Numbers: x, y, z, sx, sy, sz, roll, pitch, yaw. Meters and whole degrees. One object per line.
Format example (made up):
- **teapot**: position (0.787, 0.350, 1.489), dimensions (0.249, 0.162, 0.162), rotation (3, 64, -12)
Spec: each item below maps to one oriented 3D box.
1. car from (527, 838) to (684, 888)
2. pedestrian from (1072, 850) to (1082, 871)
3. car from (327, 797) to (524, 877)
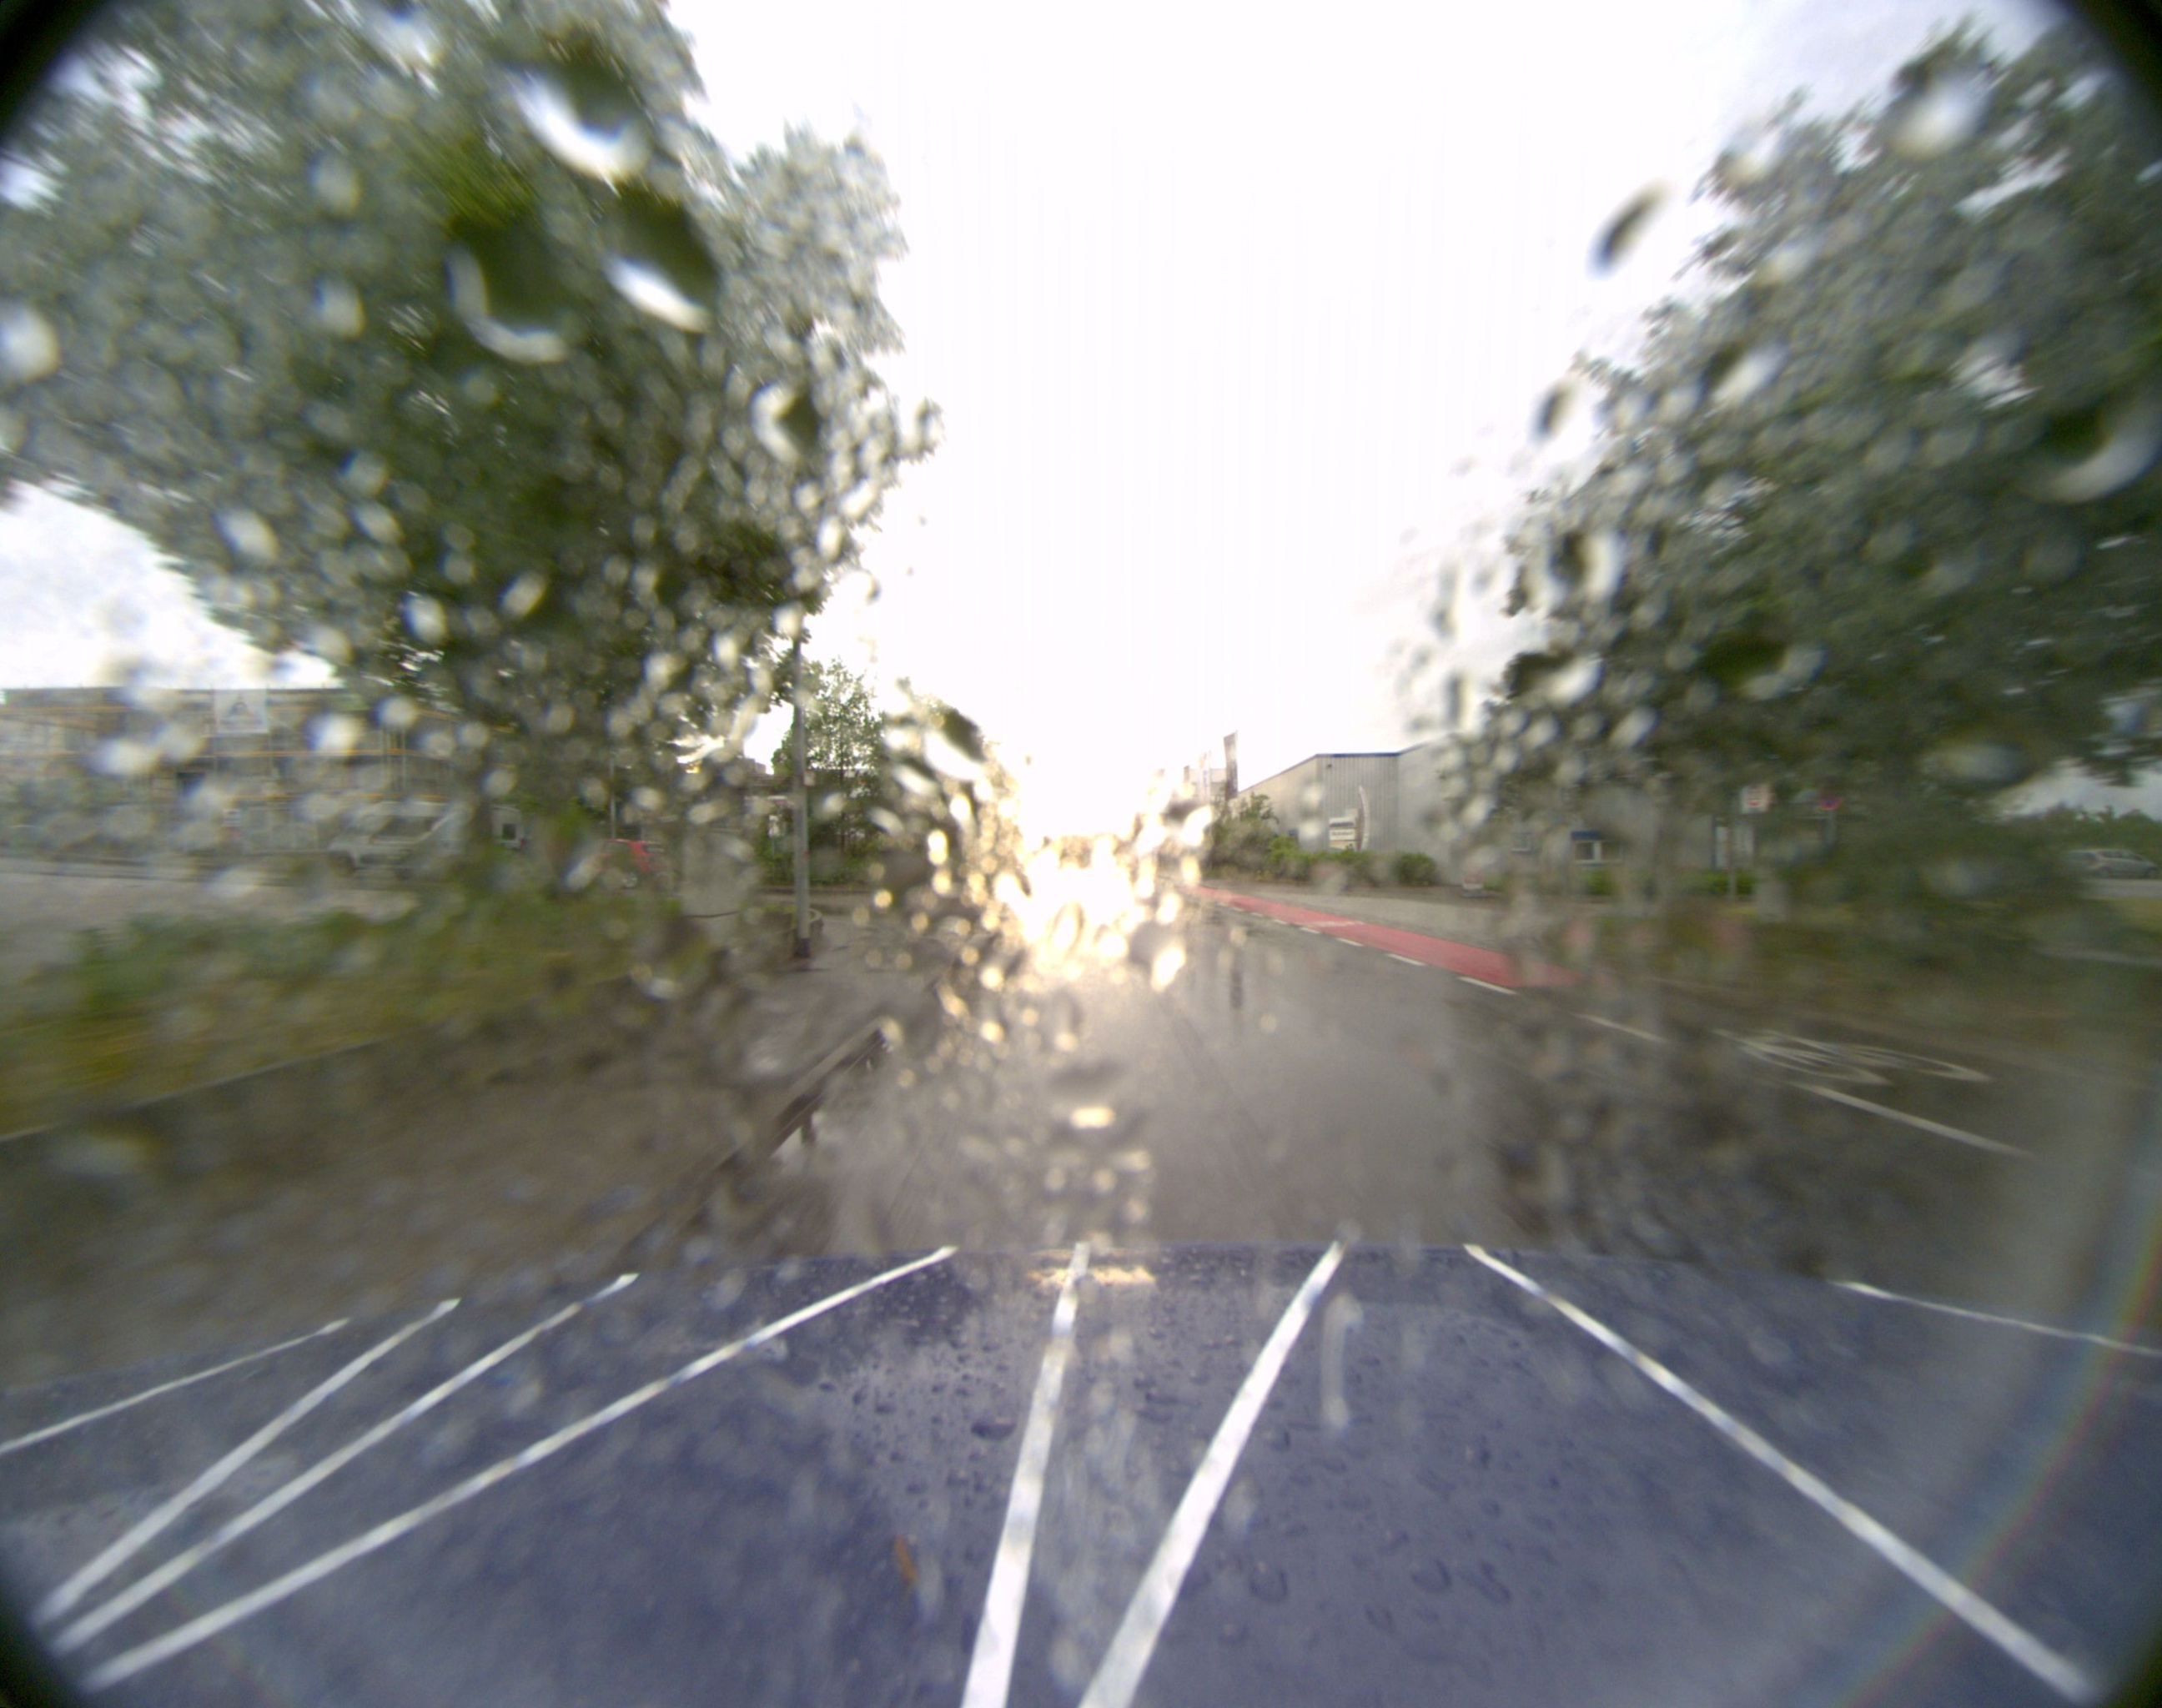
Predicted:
- **car**: position (-15.110, 0.275, 24.285), dimensions (3.890, 1.490, 1.768), rotation (-1, 0, 0)
- **pedestrian**: position (-0.312, 0.559, 64.736), dimensions (0.747, 1.827, 0.889), rotation (0, 0, -6)
- **car**: position (-21.094, -0.516, 24.551), dimensions (4.912, 2.424, 2.001), rotation (-1, 0, 7)
